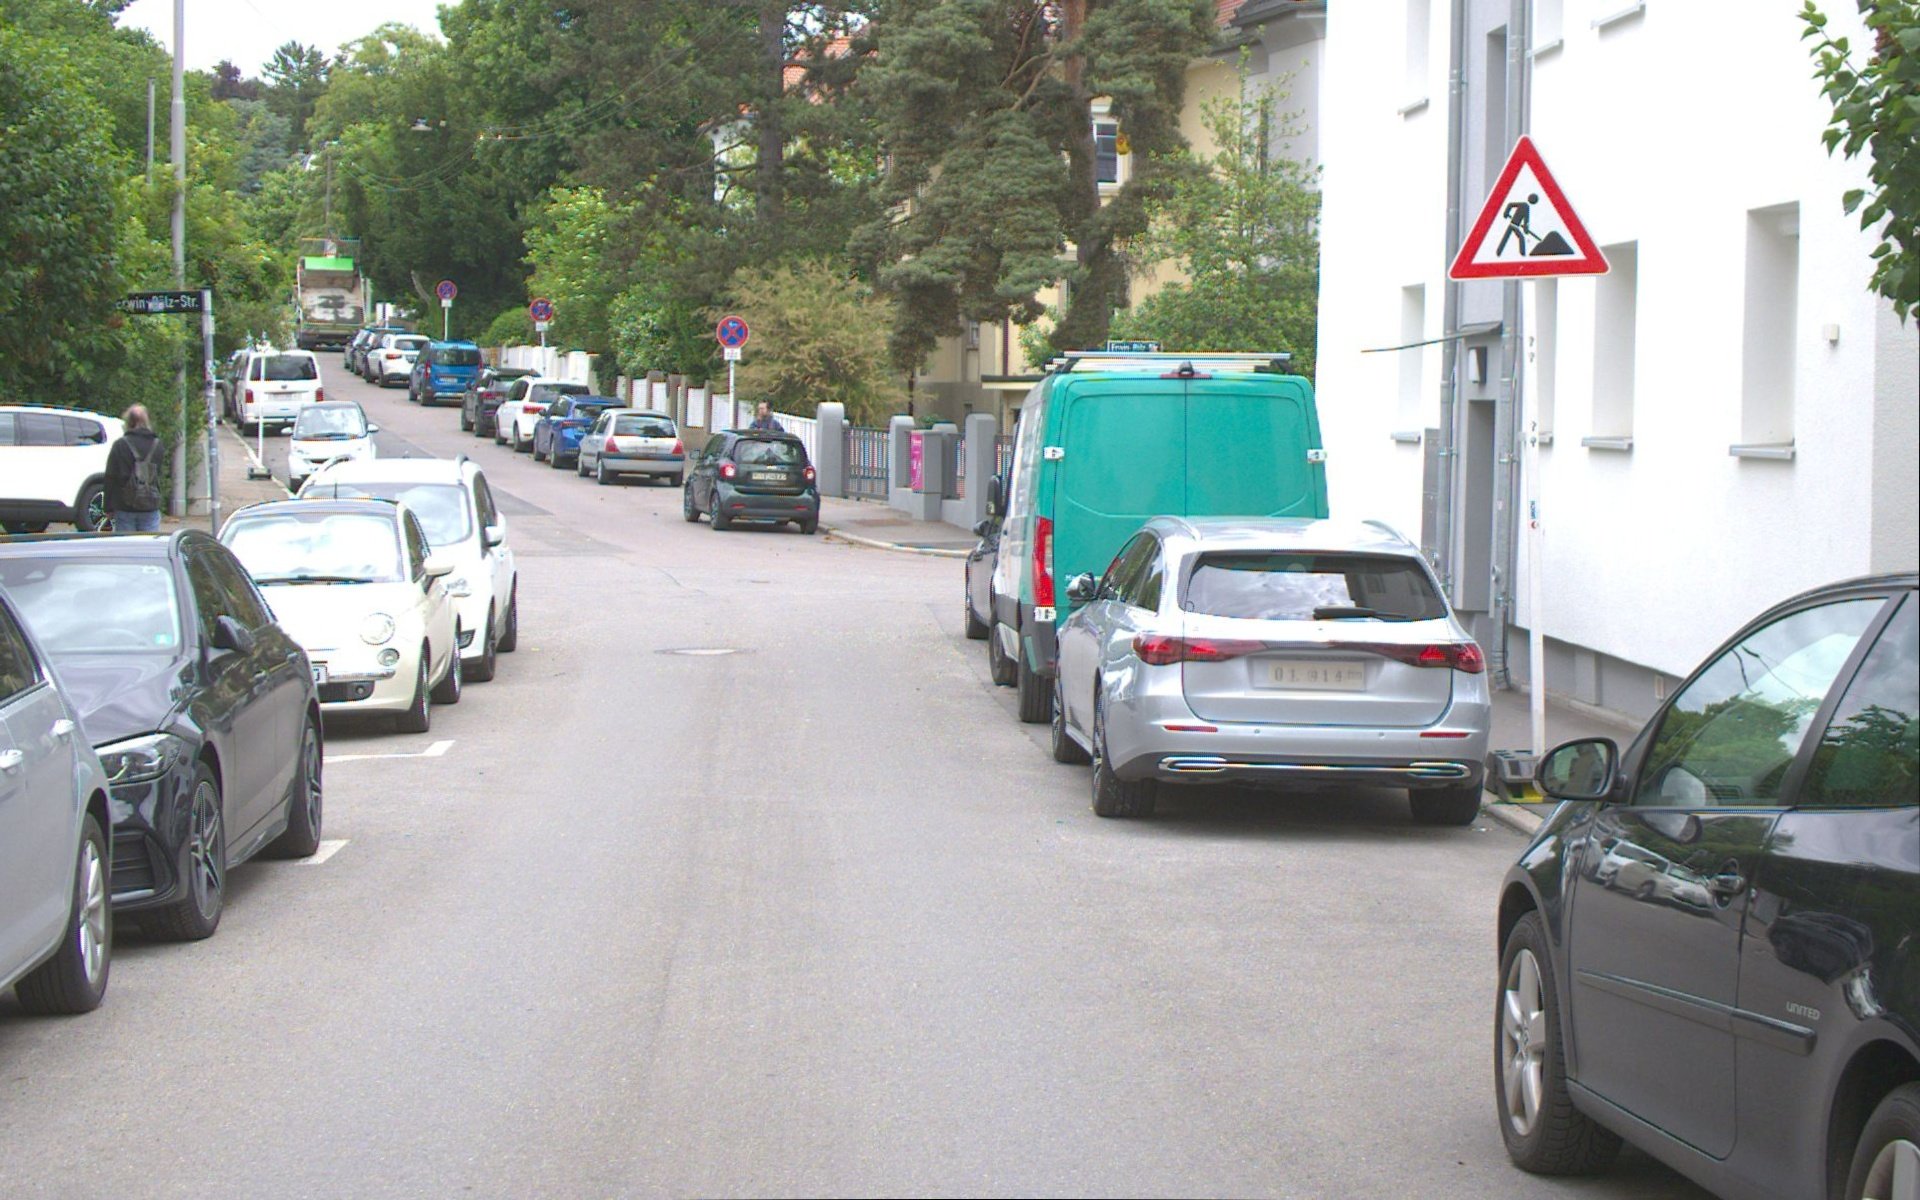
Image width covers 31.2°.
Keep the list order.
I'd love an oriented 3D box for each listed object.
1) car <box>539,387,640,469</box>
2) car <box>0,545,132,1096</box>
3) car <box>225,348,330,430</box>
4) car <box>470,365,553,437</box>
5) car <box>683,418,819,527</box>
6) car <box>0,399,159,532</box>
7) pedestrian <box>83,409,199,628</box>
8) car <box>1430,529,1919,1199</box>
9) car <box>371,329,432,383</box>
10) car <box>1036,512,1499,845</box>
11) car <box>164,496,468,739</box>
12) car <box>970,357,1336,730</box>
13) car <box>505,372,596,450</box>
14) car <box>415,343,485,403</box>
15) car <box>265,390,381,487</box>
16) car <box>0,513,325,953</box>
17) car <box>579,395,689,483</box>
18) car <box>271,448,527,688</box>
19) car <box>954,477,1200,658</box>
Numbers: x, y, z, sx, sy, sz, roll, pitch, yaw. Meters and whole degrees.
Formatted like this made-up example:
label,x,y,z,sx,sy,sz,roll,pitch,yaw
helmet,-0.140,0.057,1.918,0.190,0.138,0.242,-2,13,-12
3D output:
label,x,y,z,sx,sy,sz,roll,pitch,yaw
car,-7.617,-3.550,70.503,1.634,1.478,3.532,1,5,-12
car,-3.325,0.587,8.949,1.642,1.412,3.985,0,1,-4
car,-16.132,-5.009,81.142,1.903,1.870,4.597,-1,4,-17
car,-10.738,-4.767,82.125,1.634,1.532,3.532,1,5,-12
car,-3.313,-2.023,54.037,1.634,1.478,3.532,1,5,-11
car,-12.707,-1.723,43.440,1.998,1.634,4.802,3,2,39
pedestrian,-7.393,-0.739,31.062,0.791,1.926,0.919,2,2,-1
car,2.192,0.648,6.768,1.689,1.514,3.881,1,1,-4
car,-17.258,-7.546,106.173,1.634,1.532,3.532,1,5,-12
car,1.444,0.312,17.597,1.724,1.443,3.882,1,2,-4
car,-4.230,0.053,23.022,1.596,1.408,3.664,0,3,-4
car,1.236,-0.442,24.019,1.980,2.354,4.278,1,2,-4
car,-9.094,-4.205,76.193,1.634,1.532,3.532,1,5,-12
car,-14.273,-6.356,96.113,1.634,1.532,3.532,1,5,-12
car,-11.665,-2.985,62.816,1.672,1.651,3.865,-1,4,-16
car,-3.524,0.401,13.507,1.596,1.473,3.992,0,1,-4
car,-6.264,-3.094,65.720,1.634,1.478,3.532,1,5,-12
car,-4.395,-0.323,27.398,1.672,1.651,3.865,0,4,-4
car,0.964,-0.335,30.228,1.724,1.443,3.882,1,2,-4
